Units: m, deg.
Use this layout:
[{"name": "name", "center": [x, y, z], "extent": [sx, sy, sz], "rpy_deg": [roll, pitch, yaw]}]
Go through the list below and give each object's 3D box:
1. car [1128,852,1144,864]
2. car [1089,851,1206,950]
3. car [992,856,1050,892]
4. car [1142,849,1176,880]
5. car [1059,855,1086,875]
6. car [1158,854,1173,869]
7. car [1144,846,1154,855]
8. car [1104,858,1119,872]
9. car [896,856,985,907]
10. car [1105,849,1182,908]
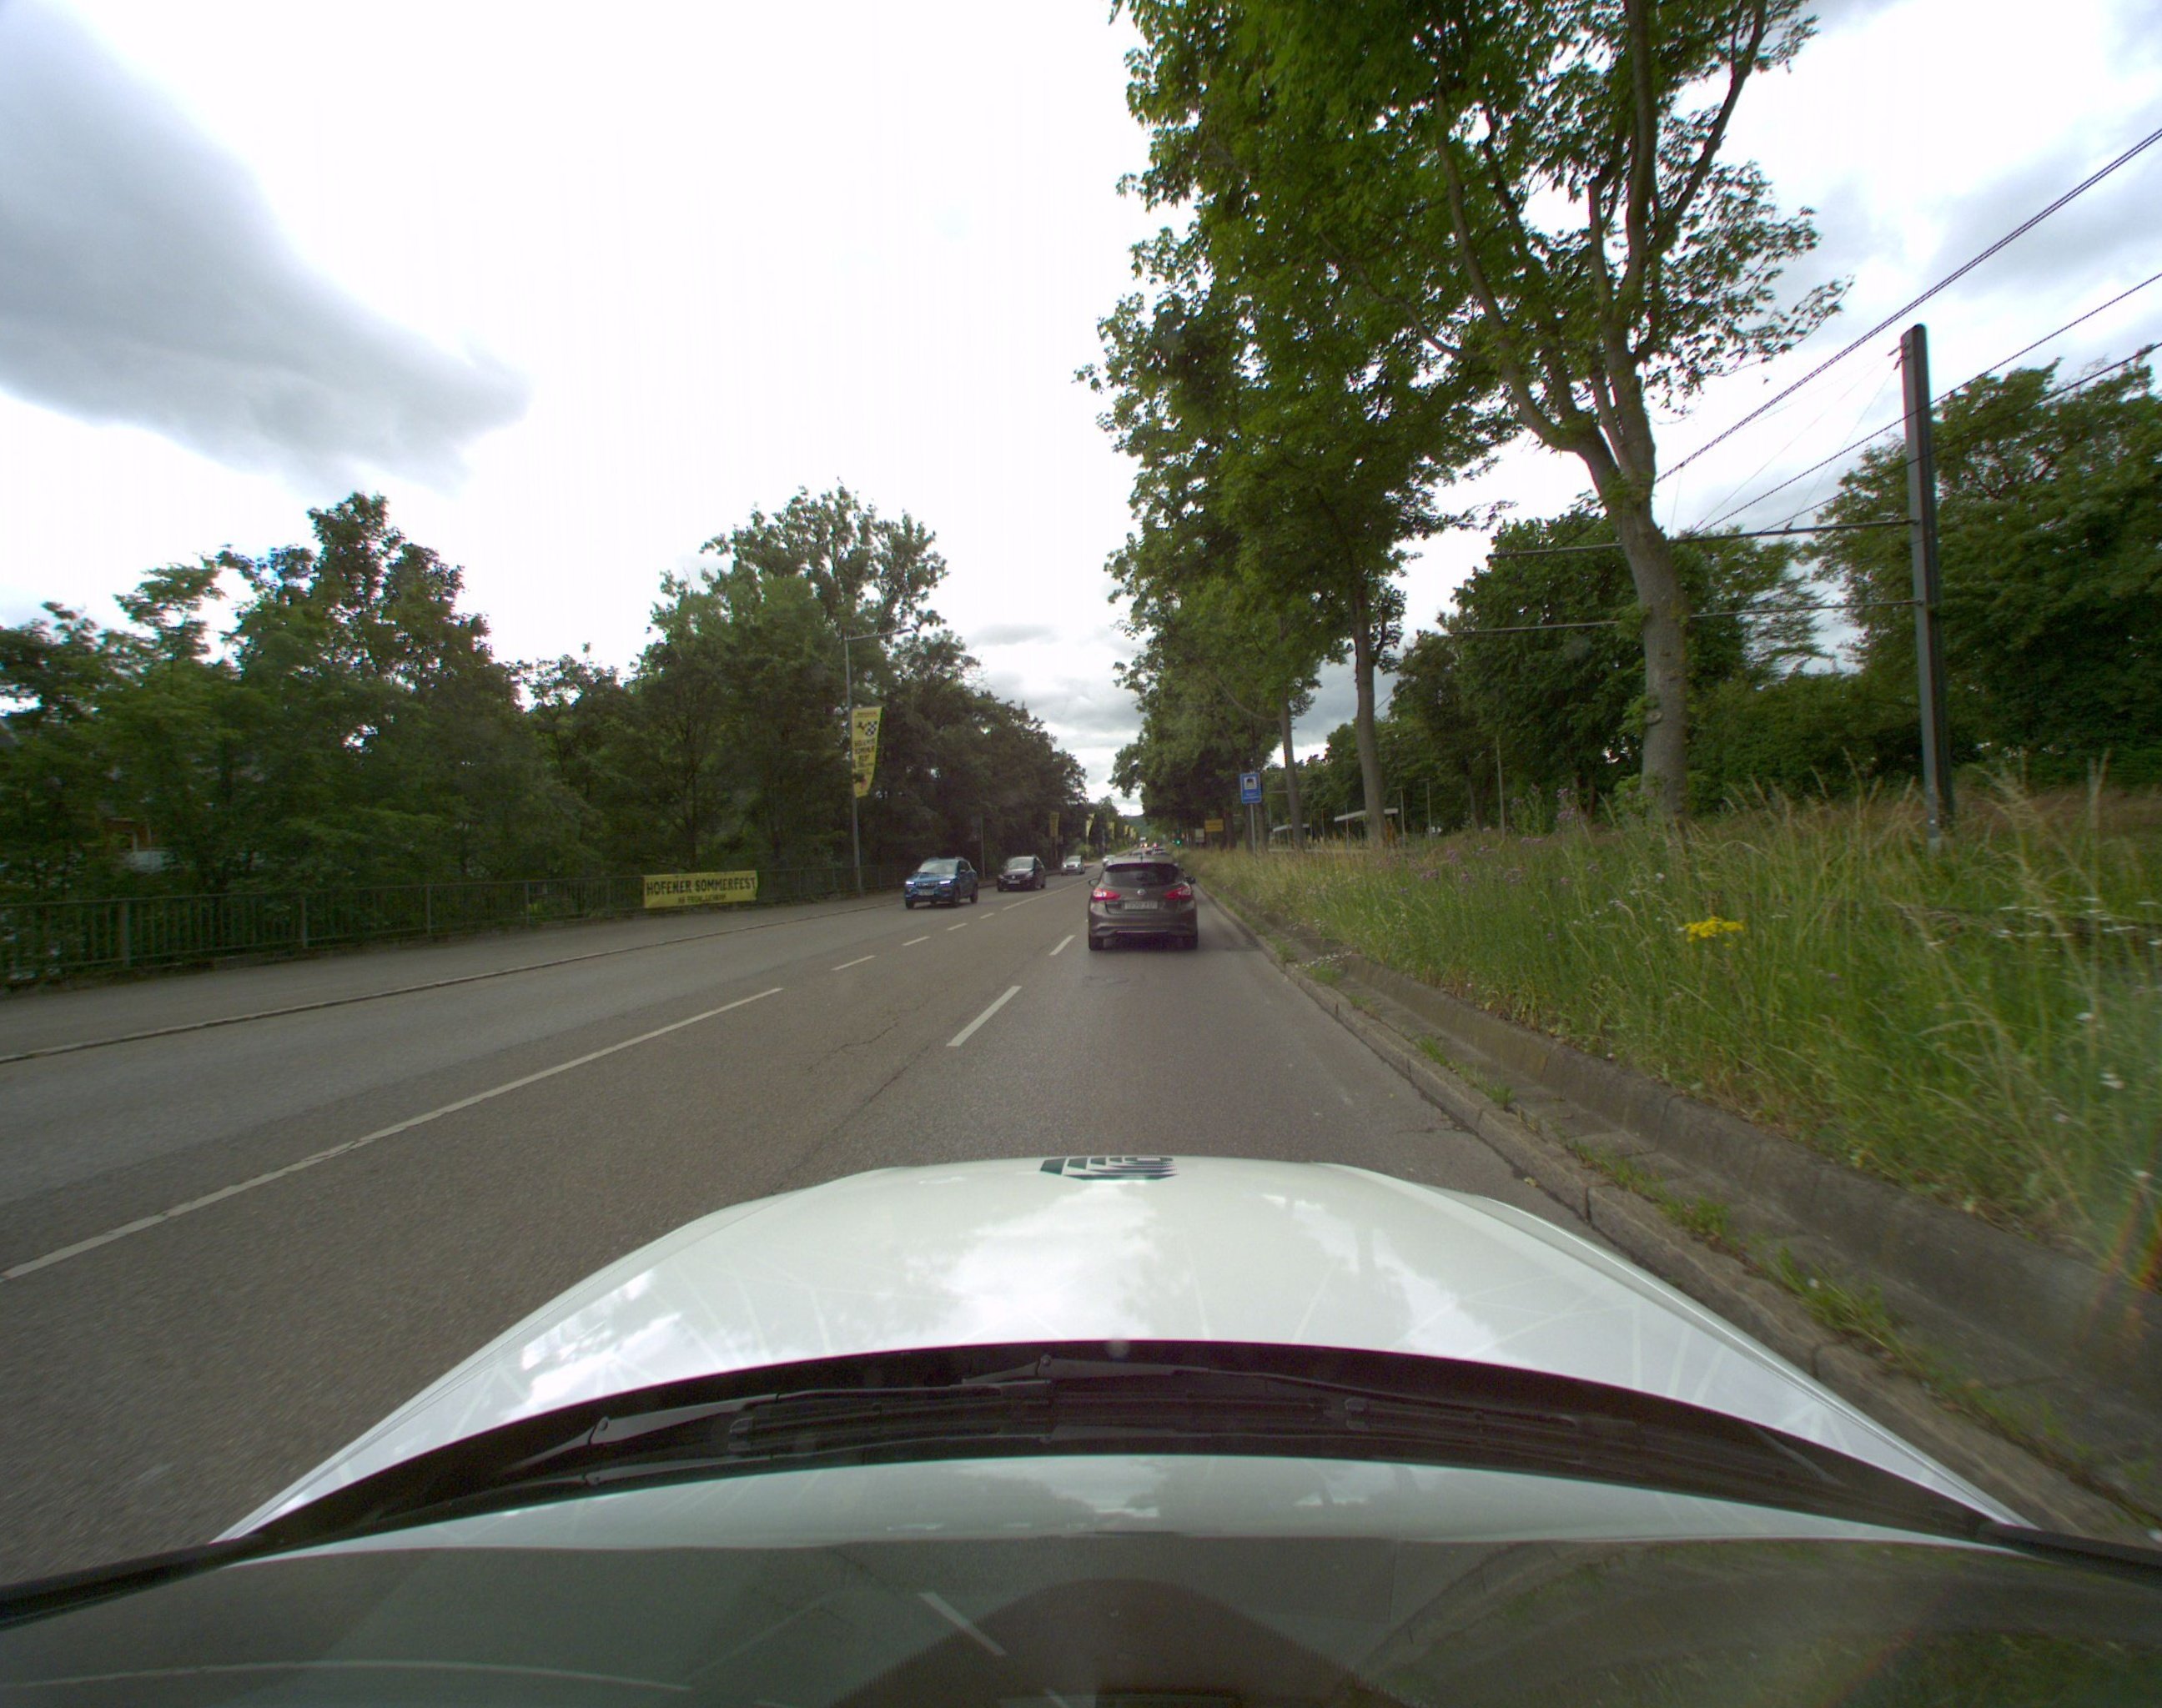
[{"name": "car", "center": [7.413, 0.564, 108.837], "extent": [1.842, 1.486, 4.428], "rpy_deg": [-2, -1, 6]}, {"name": "car", "center": [1.149, 0.762, 14.488], "extent": [1.767, 1.494, 4.003], "rpy_deg": [-1, -1, 4]}, {"name": "car", "center": [-2.672, 0.871, 37.218], "extent": [1.808, 1.462, 4.008], "rpy_deg": [-2, 0, 7]}, {"name": "car", "center": [4.089, 0.559, 43.286], "extent": [1.571, 1.538, 4.003], "rpy_deg": [-3, -1, 3]}, {"name": "car", "center": [-0.642, 0.867, 63.710], "extent": [1.744, 1.420, 4.004], "rpy_deg": [-3, -2, 4]}, {"name": "car", "center": [10.689, 0.994, 103.132], "extent": [1.710, 1.693, 4.004], "rpy_deg": [-3, -2, 5]}, {"name": "car", "center": [12.700, -0.697, 151.476], "extent": [1.710, 1.401, 3.730], "rpy_deg": [-3, -2, 5]}, {"name": "car", "center": [3.842, 1.388, 103.010], "extent": [1.710, 1.693, 3.730], "rpy_deg": [-3, -2, 5]}, {"name": "car", "center": [-4.383, 0.889, 25.998], "extent": [1.712, 1.442, 4.006], "rpy_deg": [-3, -2, 6]}, {"name": "car", "center": [1.786, 0.727, 24.578], "extent": [1.888, 1.574, 3.997], "rpy_deg": [-1, -1, -2]}]
